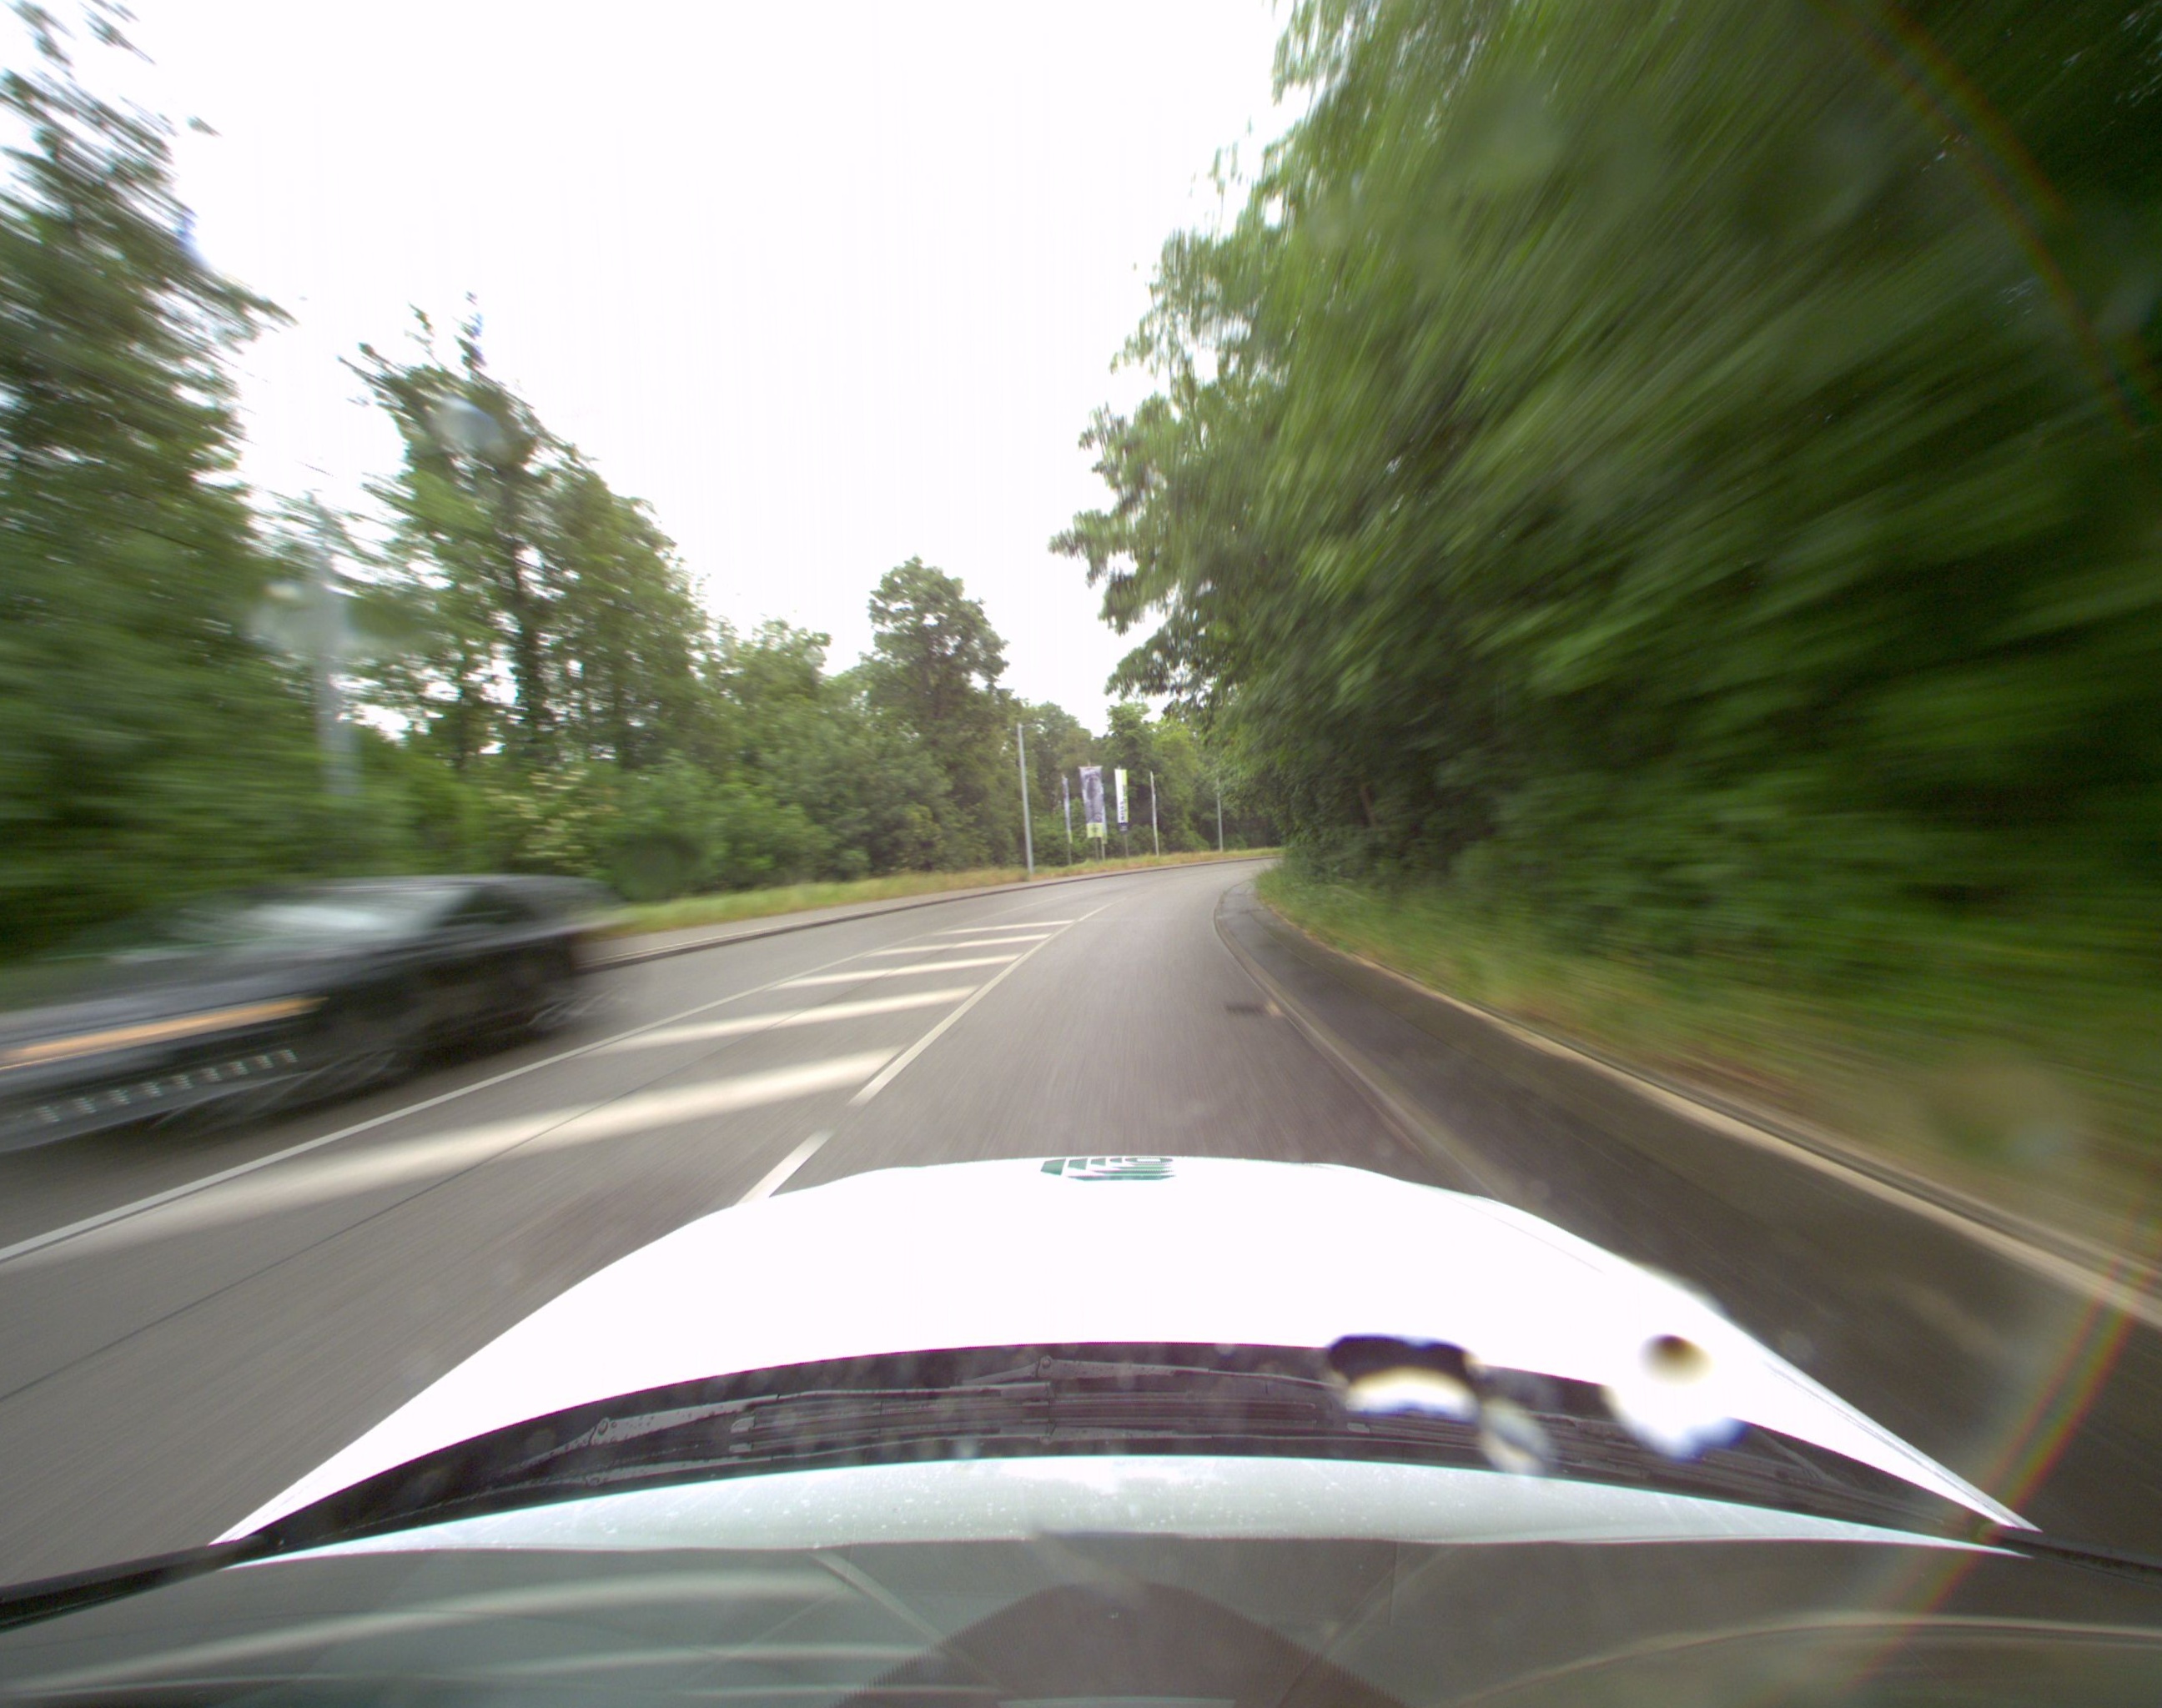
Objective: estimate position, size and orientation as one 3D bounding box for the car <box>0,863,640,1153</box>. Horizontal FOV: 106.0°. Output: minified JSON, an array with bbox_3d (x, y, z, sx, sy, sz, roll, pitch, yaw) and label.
[{"bbox_3d":[-5.300,0.833,6.202,1.587,1.477,3.797,-1,0,4],"label":"car"}]
